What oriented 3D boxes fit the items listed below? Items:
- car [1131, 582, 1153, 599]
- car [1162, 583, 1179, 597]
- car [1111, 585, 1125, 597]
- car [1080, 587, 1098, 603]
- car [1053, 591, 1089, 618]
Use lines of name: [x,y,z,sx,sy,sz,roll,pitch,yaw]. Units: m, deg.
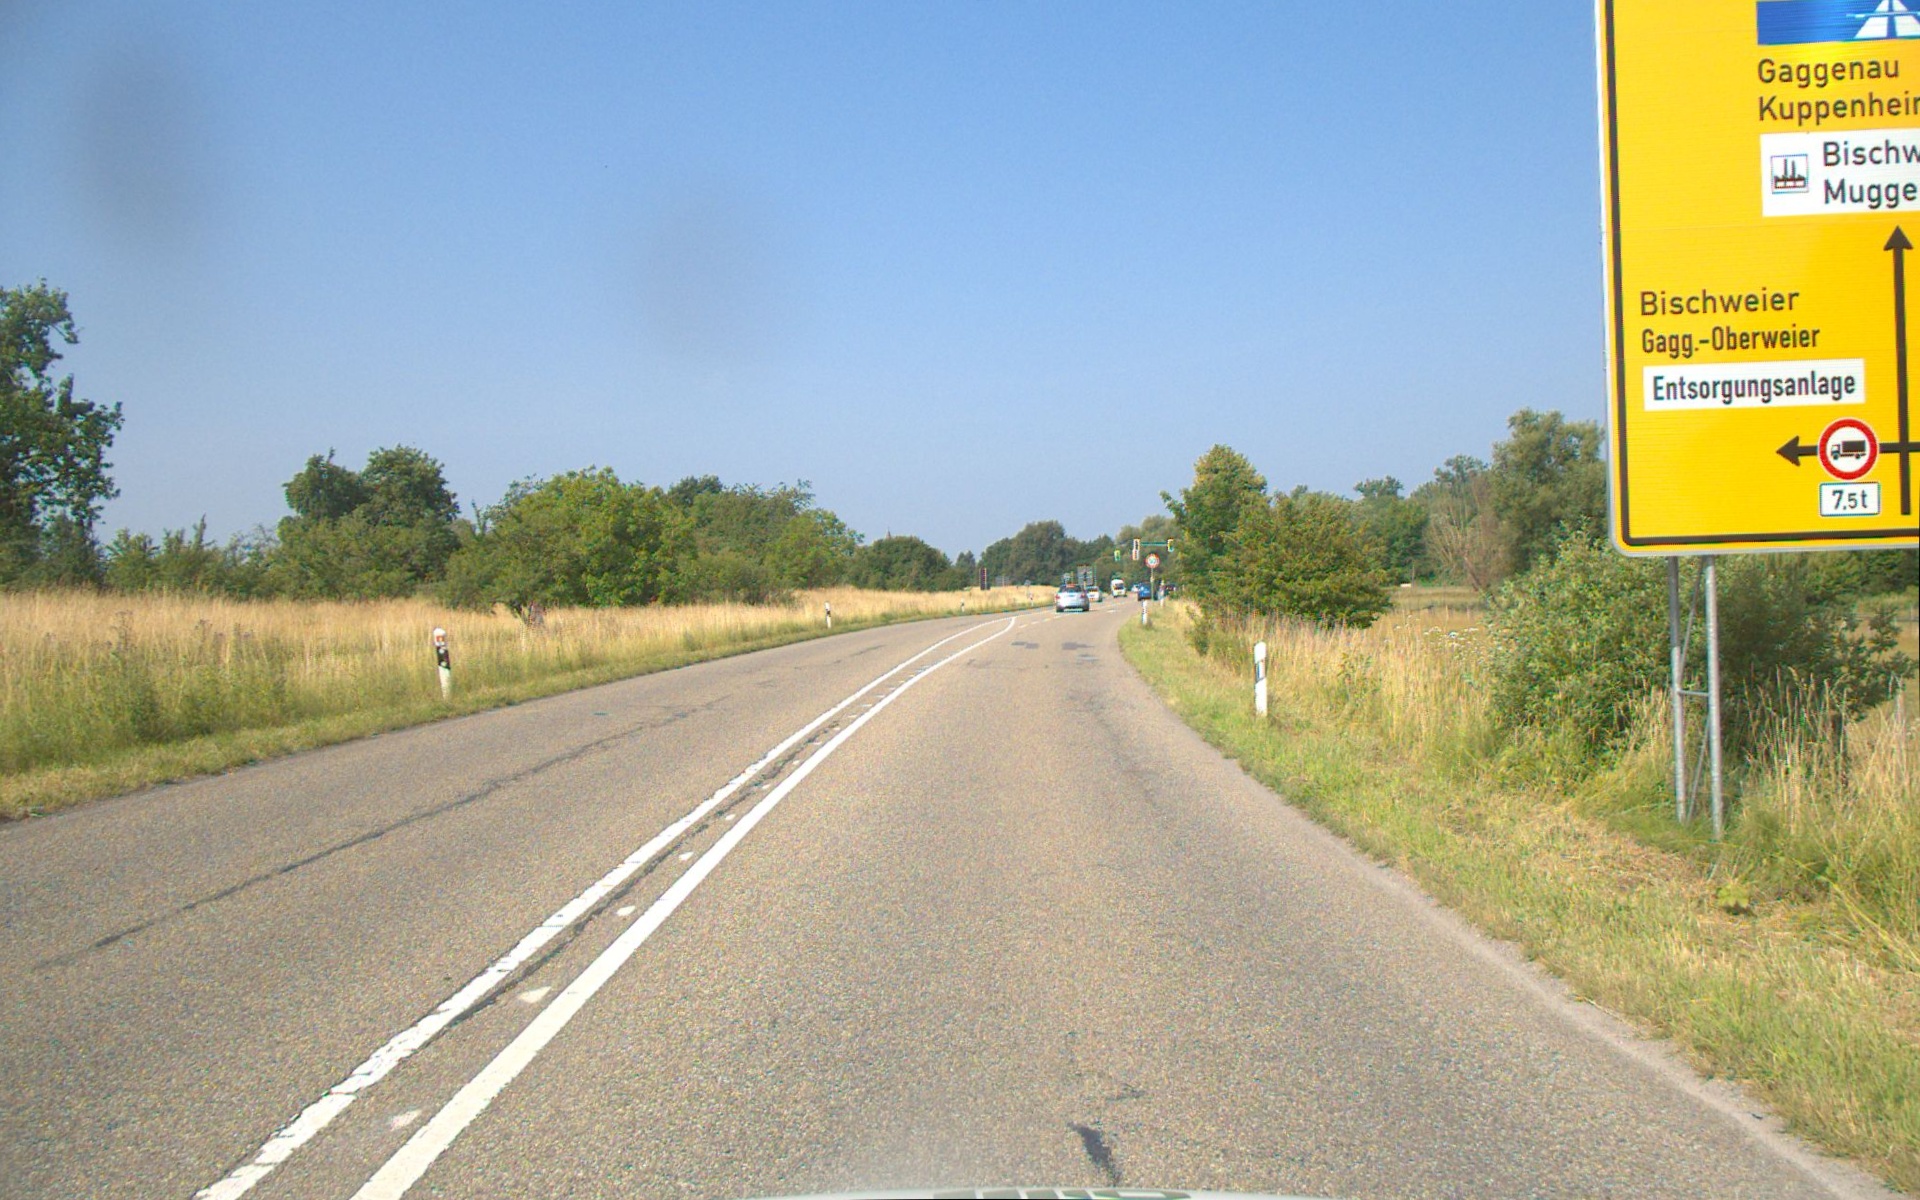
car: [16.894,-0.903,153.172,1.777,1.547,4.004,-2,0,9]
car: [24.619,-1.188,193.347,1.802,1.579,4.002,-1,0,4]
car: [23.301,-1.271,244.429,1.796,1.724,3.862,-1,0,9]
car: [13.403,-0.528,171.619,1.774,1.613,4.227,1,0,5]
car: [6.623,0.241,98.473,1.858,1.538,4.003,1,0,8]
